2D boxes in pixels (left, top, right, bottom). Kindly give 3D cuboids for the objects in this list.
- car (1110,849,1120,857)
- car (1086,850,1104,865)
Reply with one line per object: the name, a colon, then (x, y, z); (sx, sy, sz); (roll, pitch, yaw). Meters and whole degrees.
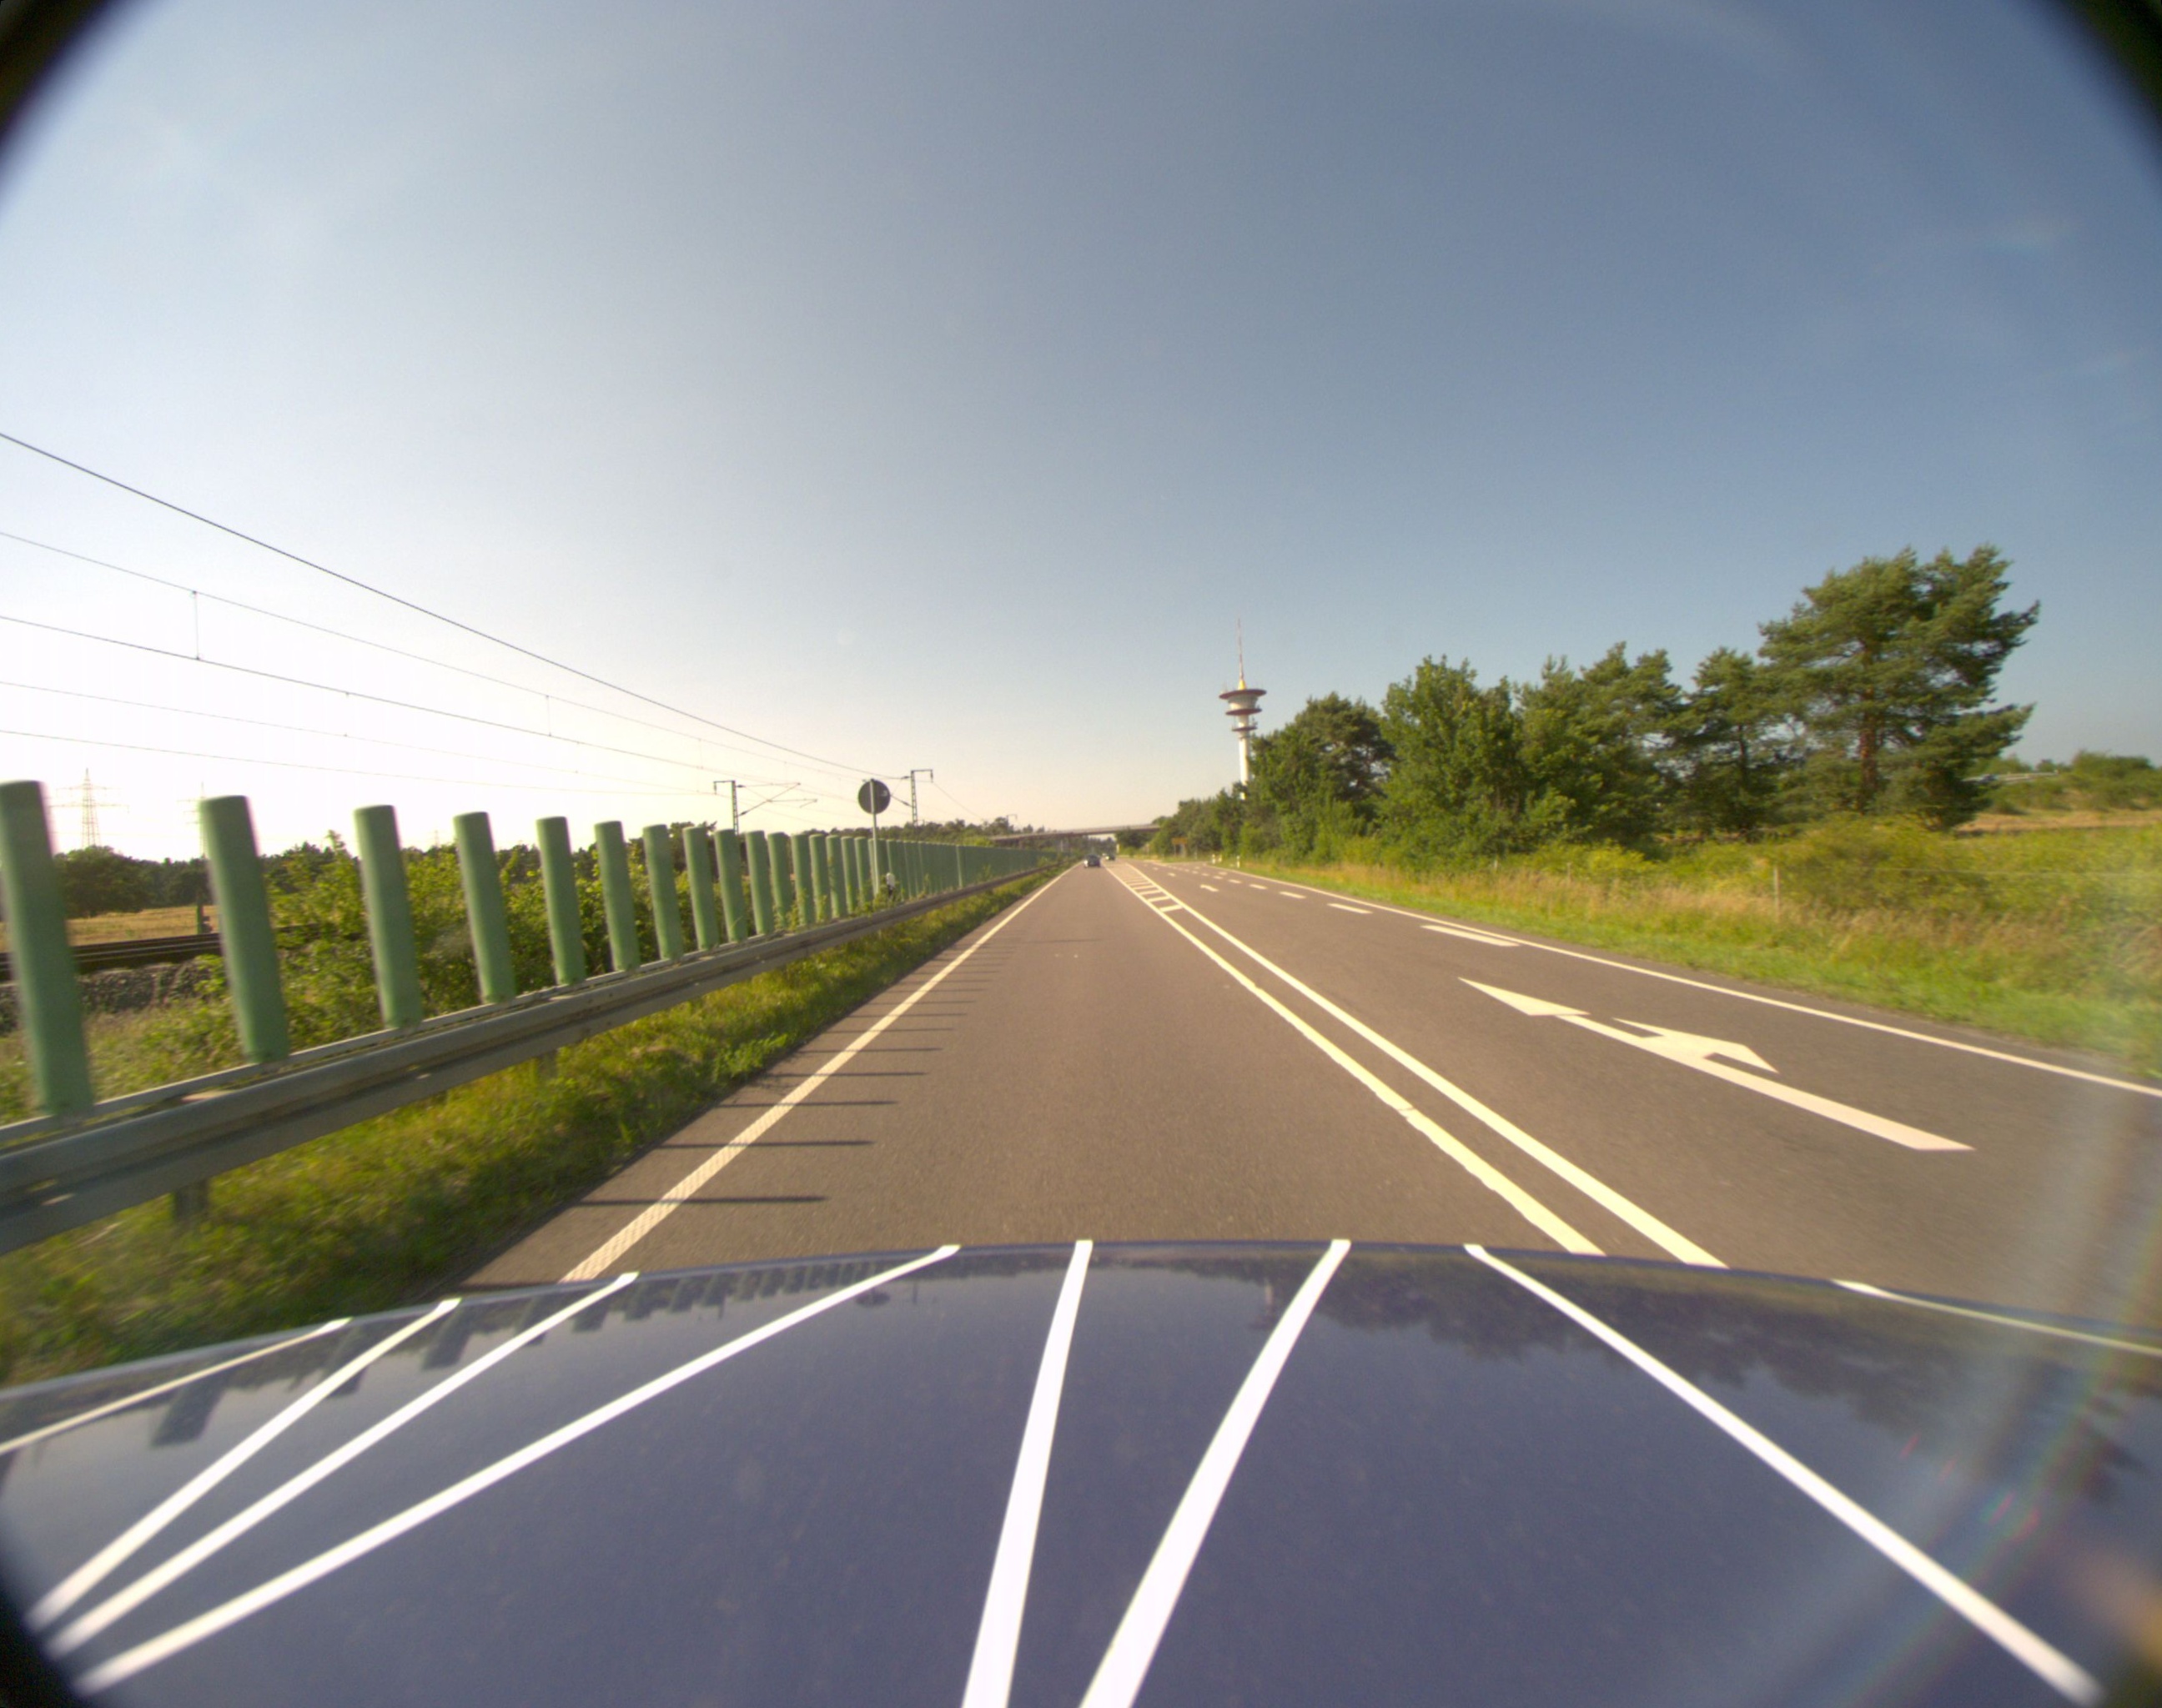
car: (6.835, -0.201, 152.597); (1.998, 1.533, 4.332); (-1, 0, 2)
car: (1.604, 0.329, 83.437); (1.868, 1.533, 4.076); (-1, 1, 2)
